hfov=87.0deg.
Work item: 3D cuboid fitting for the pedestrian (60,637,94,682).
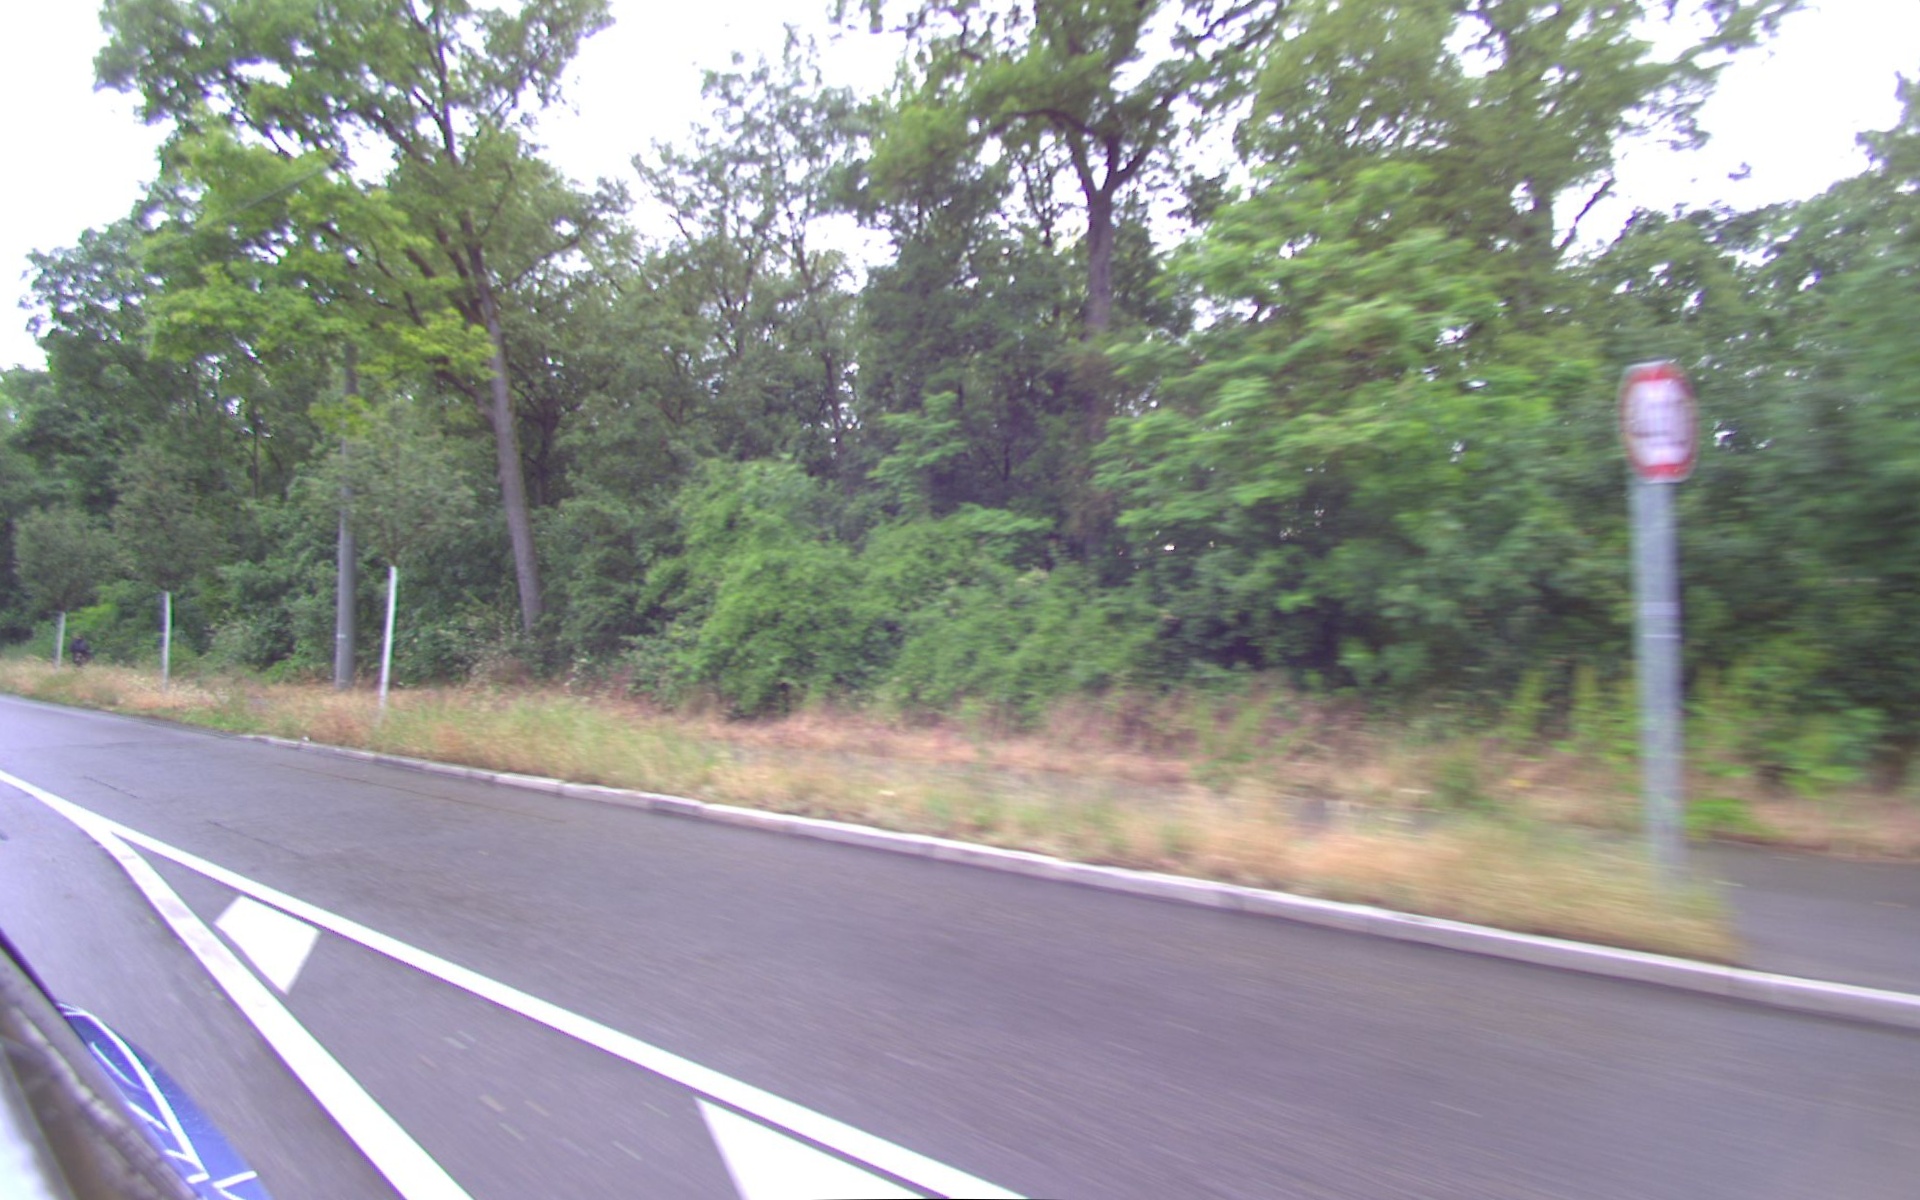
[{"bbox_3d":[-32.415,2.174,37.158,0.731,1.620,0.774,-2,-3,37],"label":"pedestrian"}]
